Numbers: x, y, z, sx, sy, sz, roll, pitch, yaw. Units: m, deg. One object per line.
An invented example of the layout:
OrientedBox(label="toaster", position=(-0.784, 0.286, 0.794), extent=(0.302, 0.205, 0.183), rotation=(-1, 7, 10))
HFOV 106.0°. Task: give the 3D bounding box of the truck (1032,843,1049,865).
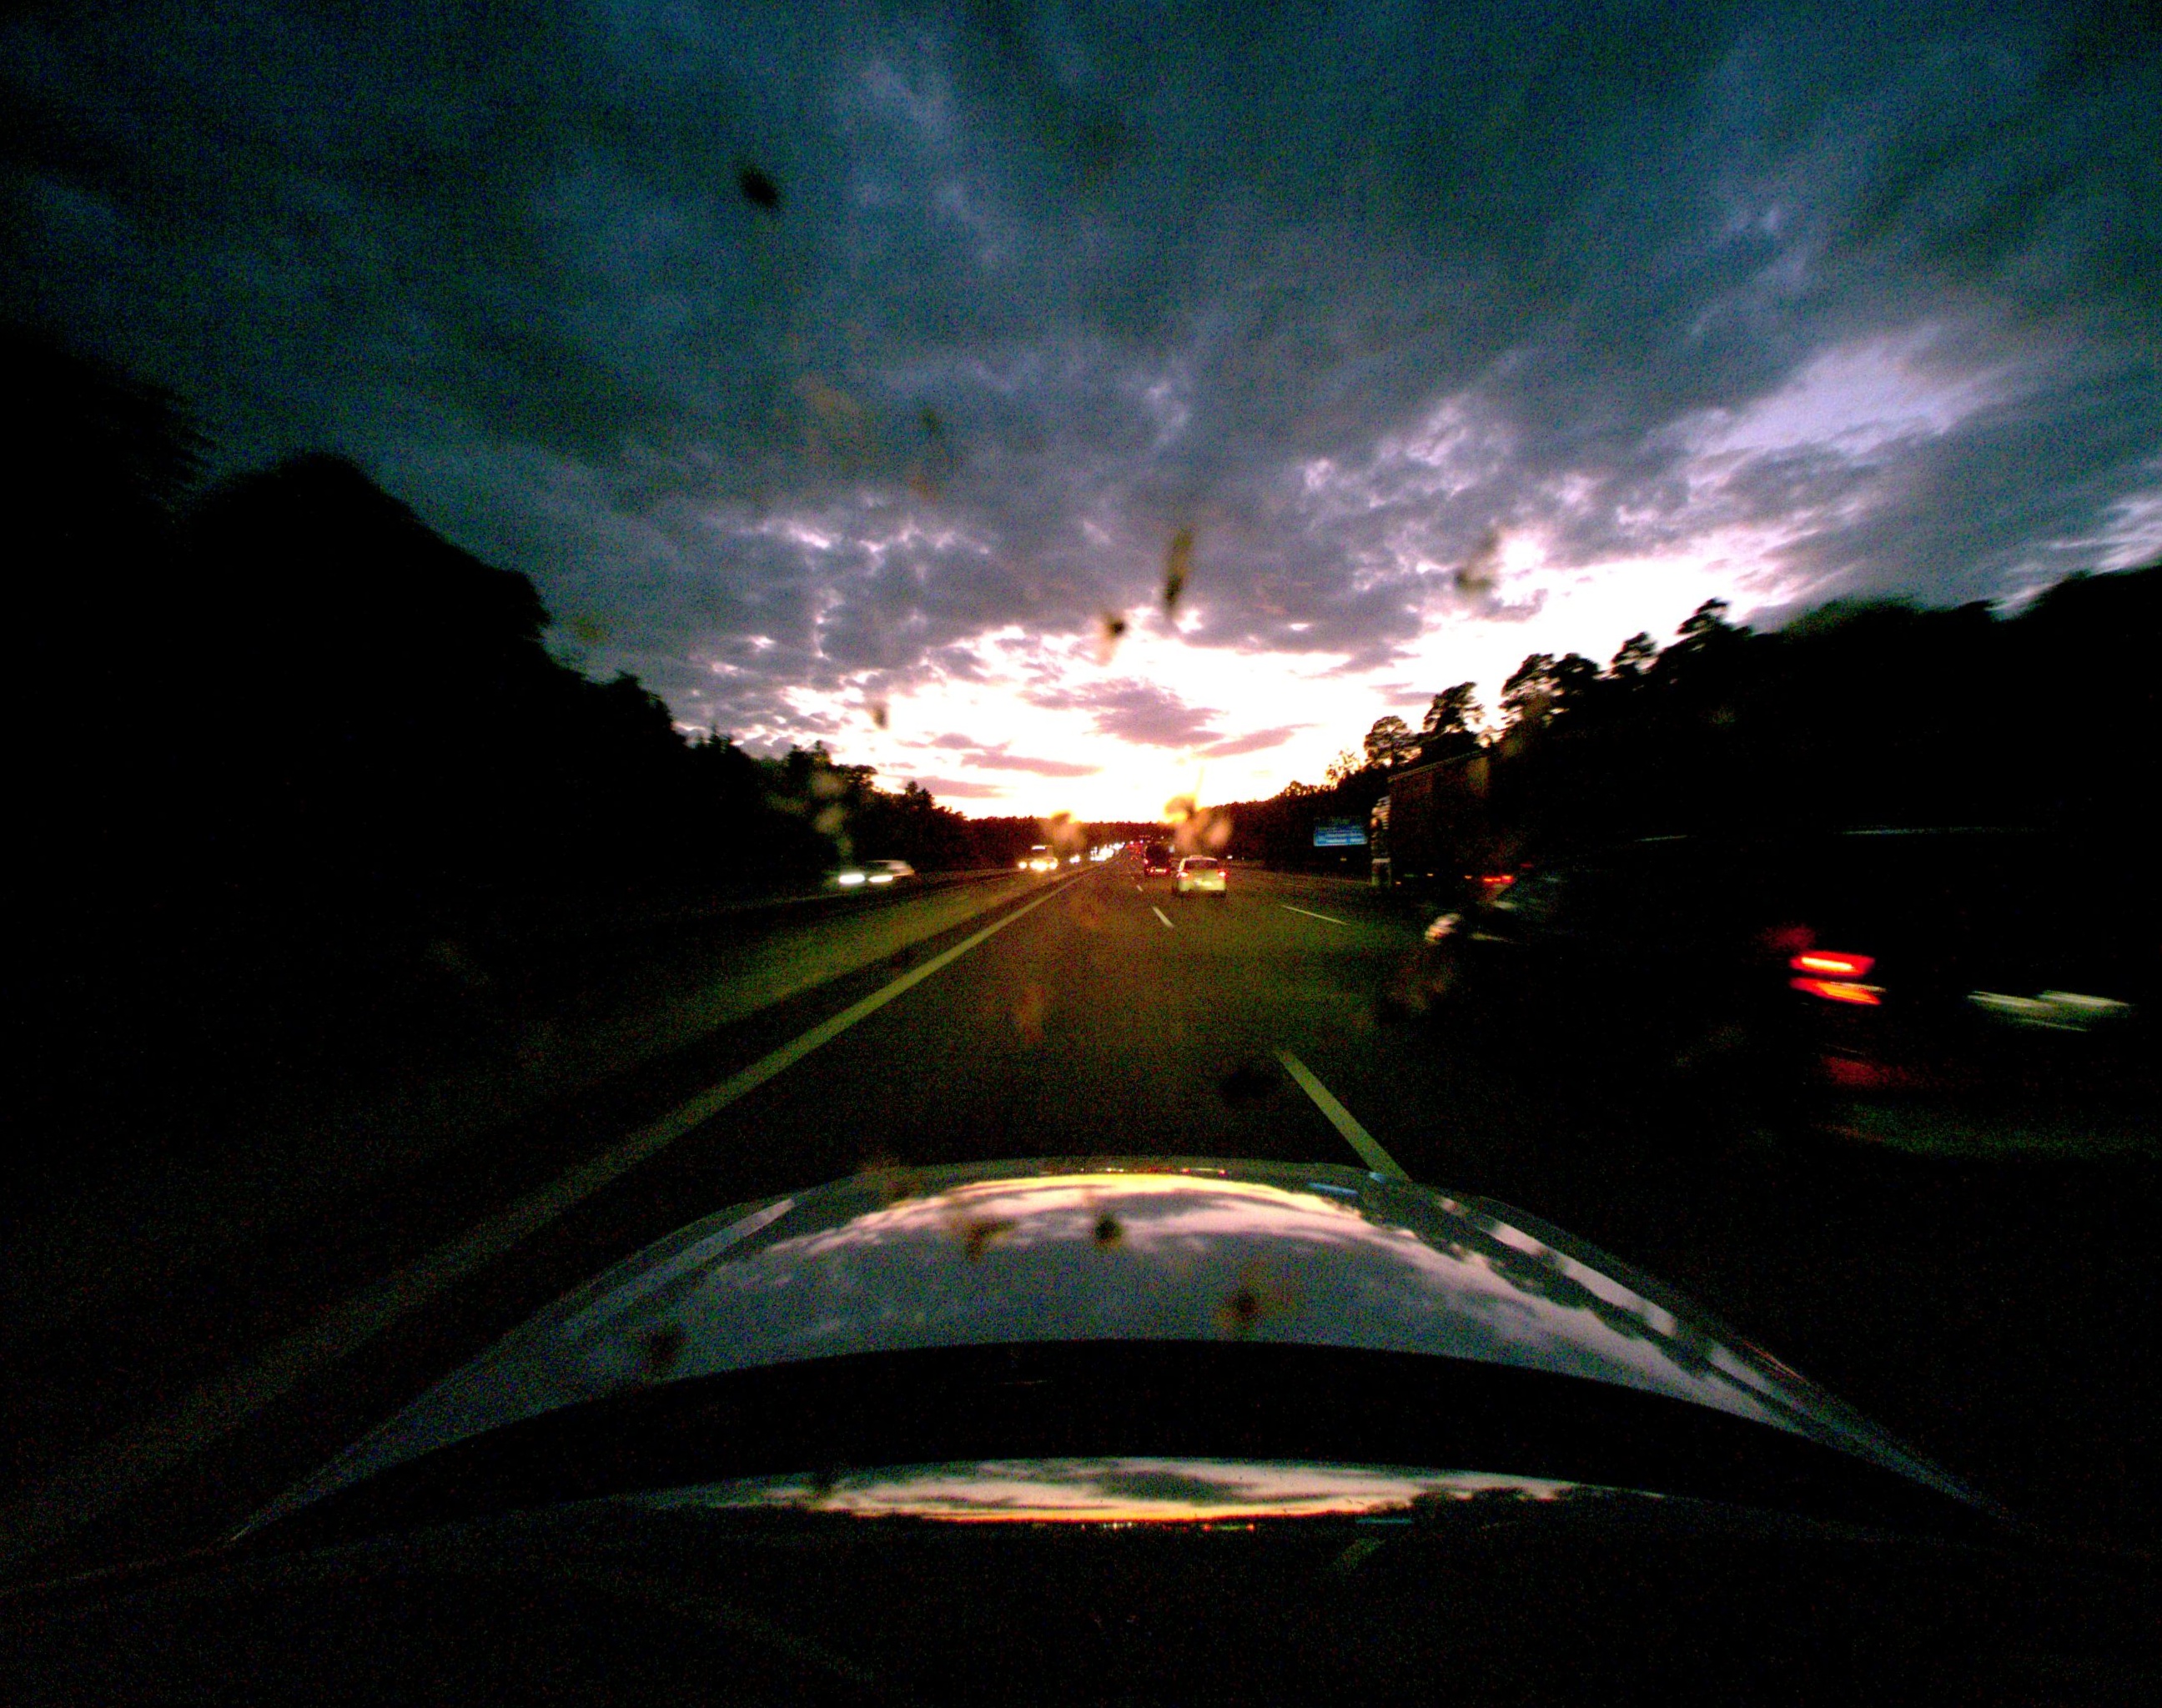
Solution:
OrientedBox(label="truck", position=(-7.643, 0.042, 153.565), extent=(2.640, 4.131, 6.527), rotation=(-1, 0, 2))

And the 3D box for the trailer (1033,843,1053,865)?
OrientedBox(label="trailer", position=(-7.430, 0.064, 160.424), extent=(2.640, 4.131, 14.332), rotation=(-1, 0, 2))

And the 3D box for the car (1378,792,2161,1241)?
OrientedBox(label="car", position=(3.834, 0.615, 5.524), extent=(1.896, 1.643, 5.053), rotation=(0, -1, 1))

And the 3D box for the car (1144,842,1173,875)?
OrientedBox(label="car", position=(6.123, 0.368, 64.456), extent=(2.155, 2.419, 5.572), rotation=(-1, 0, 5))

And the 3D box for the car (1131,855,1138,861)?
OrientedBox(label="car", position=(14.940, 1.094, 228.006), extent=(1.827, 1.570, 4.006), rotation=(-1, 0, 5))

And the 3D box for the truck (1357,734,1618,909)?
OrientedBox(label="truck", position=(11.471, -0.754, 24.742), extent=(2.873, 4.100, 10.838), rotation=(-1, 0, 3))

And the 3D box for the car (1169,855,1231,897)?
OrientedBox(label="car", position=(4.365, 0.789, 30.375), extent=(1.852, 1.442, 3.721), rotation=(-1, 0, 1))

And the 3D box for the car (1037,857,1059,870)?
OrientedBox(label="car", position=(-3.490, 1.013, 87.306), extent=(1.986, 1.401, 4.690), rotation=(-1, 0, 2))

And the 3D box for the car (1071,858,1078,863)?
OrientedBox(label="car", position=(-1.971, 1.798, 242.052), extent=(1.904, 1.425, 4.750), rotation=(-1, 0, 3))

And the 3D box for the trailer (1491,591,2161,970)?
OrientedBox(label="trailer", position=(10.977, -0.790, 14.097), extent=(2.895, 4.100, 10.364), rotation=(-1, 0, 3))

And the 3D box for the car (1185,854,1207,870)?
OrientedBox(label="car", position=(11.895, 0.798, 84.272), extent=(1.998, 1.538, 4.006), rotation=(-1, 0, 5))

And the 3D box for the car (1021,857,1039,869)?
OrientedBox(label="car", position=(-6.595, 1.138, 105.893), extent=(1.769, 1.401, 4.942), rotation=(-1, 0, 2))

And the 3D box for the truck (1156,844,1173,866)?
OrientedBox(label="truck", position=(23.062, 0.241, 225.772), extent=(4.131, 5.856, 14.311), rotation=(-1, 0, 4))

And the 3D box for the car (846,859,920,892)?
OrientedBox(label="car", position=(-9.384, 0.986, 39.062), extent=(1.746, 1.429, 5.372), rotation=(-1, 0, 6))
